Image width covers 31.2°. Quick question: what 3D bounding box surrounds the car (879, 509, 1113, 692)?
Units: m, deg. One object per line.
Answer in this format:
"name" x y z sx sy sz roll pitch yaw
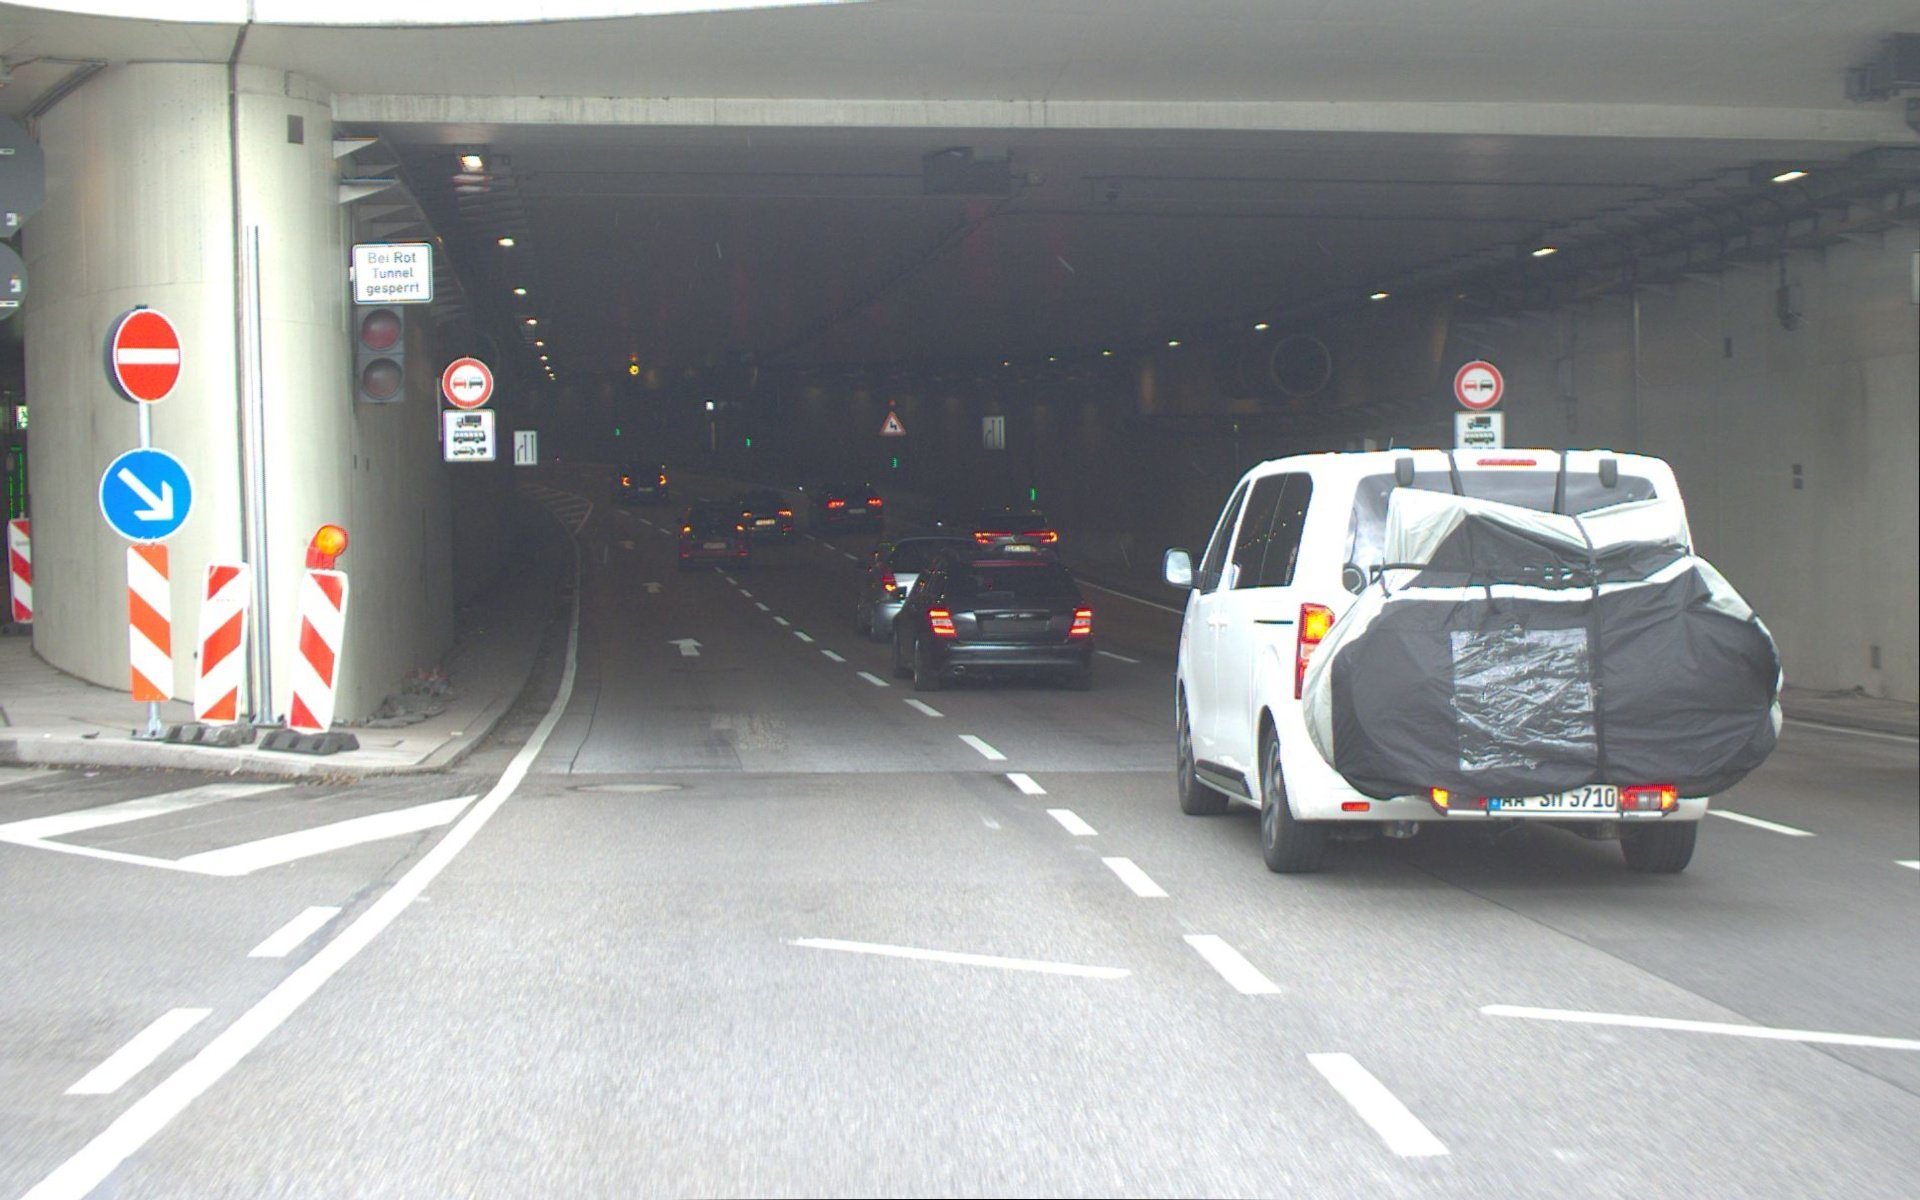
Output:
"car" 0.297 -0.044 34.670 1.818 1.678 4.001 1 2 -7

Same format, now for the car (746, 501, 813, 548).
"car" -4.873 -2.043 92.557 1.663 1.242 3.568 0 1 -5

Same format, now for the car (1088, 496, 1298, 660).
"car" 2.793 -0.310 42.093 1.818 1.743 4.001 3 2 -6

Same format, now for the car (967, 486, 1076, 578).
"car" 1.184 -1.362 67.800 1.660 1.628 3.568 3 2 -6

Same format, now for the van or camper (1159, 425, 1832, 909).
"van or camper" 2.229 0.209 16.025 1.993 1.839 5.509 1 1 -3

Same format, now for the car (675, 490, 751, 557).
"car" -5.678 -1.757 78.815 1.660 1.483 3.568 0 1 -5

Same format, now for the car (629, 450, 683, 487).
"car" -10.512 -4.540 118.715 1.508 1.242 3.568 -1 2 -10

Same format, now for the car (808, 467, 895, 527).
"car" -3.137 -2.927 98.147 1.989 1.670 4.510 0 1 -8

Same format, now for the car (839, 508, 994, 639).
"car" -0.650 -0.403 47.827 1.818 1.575 4.001 3 2 -4
